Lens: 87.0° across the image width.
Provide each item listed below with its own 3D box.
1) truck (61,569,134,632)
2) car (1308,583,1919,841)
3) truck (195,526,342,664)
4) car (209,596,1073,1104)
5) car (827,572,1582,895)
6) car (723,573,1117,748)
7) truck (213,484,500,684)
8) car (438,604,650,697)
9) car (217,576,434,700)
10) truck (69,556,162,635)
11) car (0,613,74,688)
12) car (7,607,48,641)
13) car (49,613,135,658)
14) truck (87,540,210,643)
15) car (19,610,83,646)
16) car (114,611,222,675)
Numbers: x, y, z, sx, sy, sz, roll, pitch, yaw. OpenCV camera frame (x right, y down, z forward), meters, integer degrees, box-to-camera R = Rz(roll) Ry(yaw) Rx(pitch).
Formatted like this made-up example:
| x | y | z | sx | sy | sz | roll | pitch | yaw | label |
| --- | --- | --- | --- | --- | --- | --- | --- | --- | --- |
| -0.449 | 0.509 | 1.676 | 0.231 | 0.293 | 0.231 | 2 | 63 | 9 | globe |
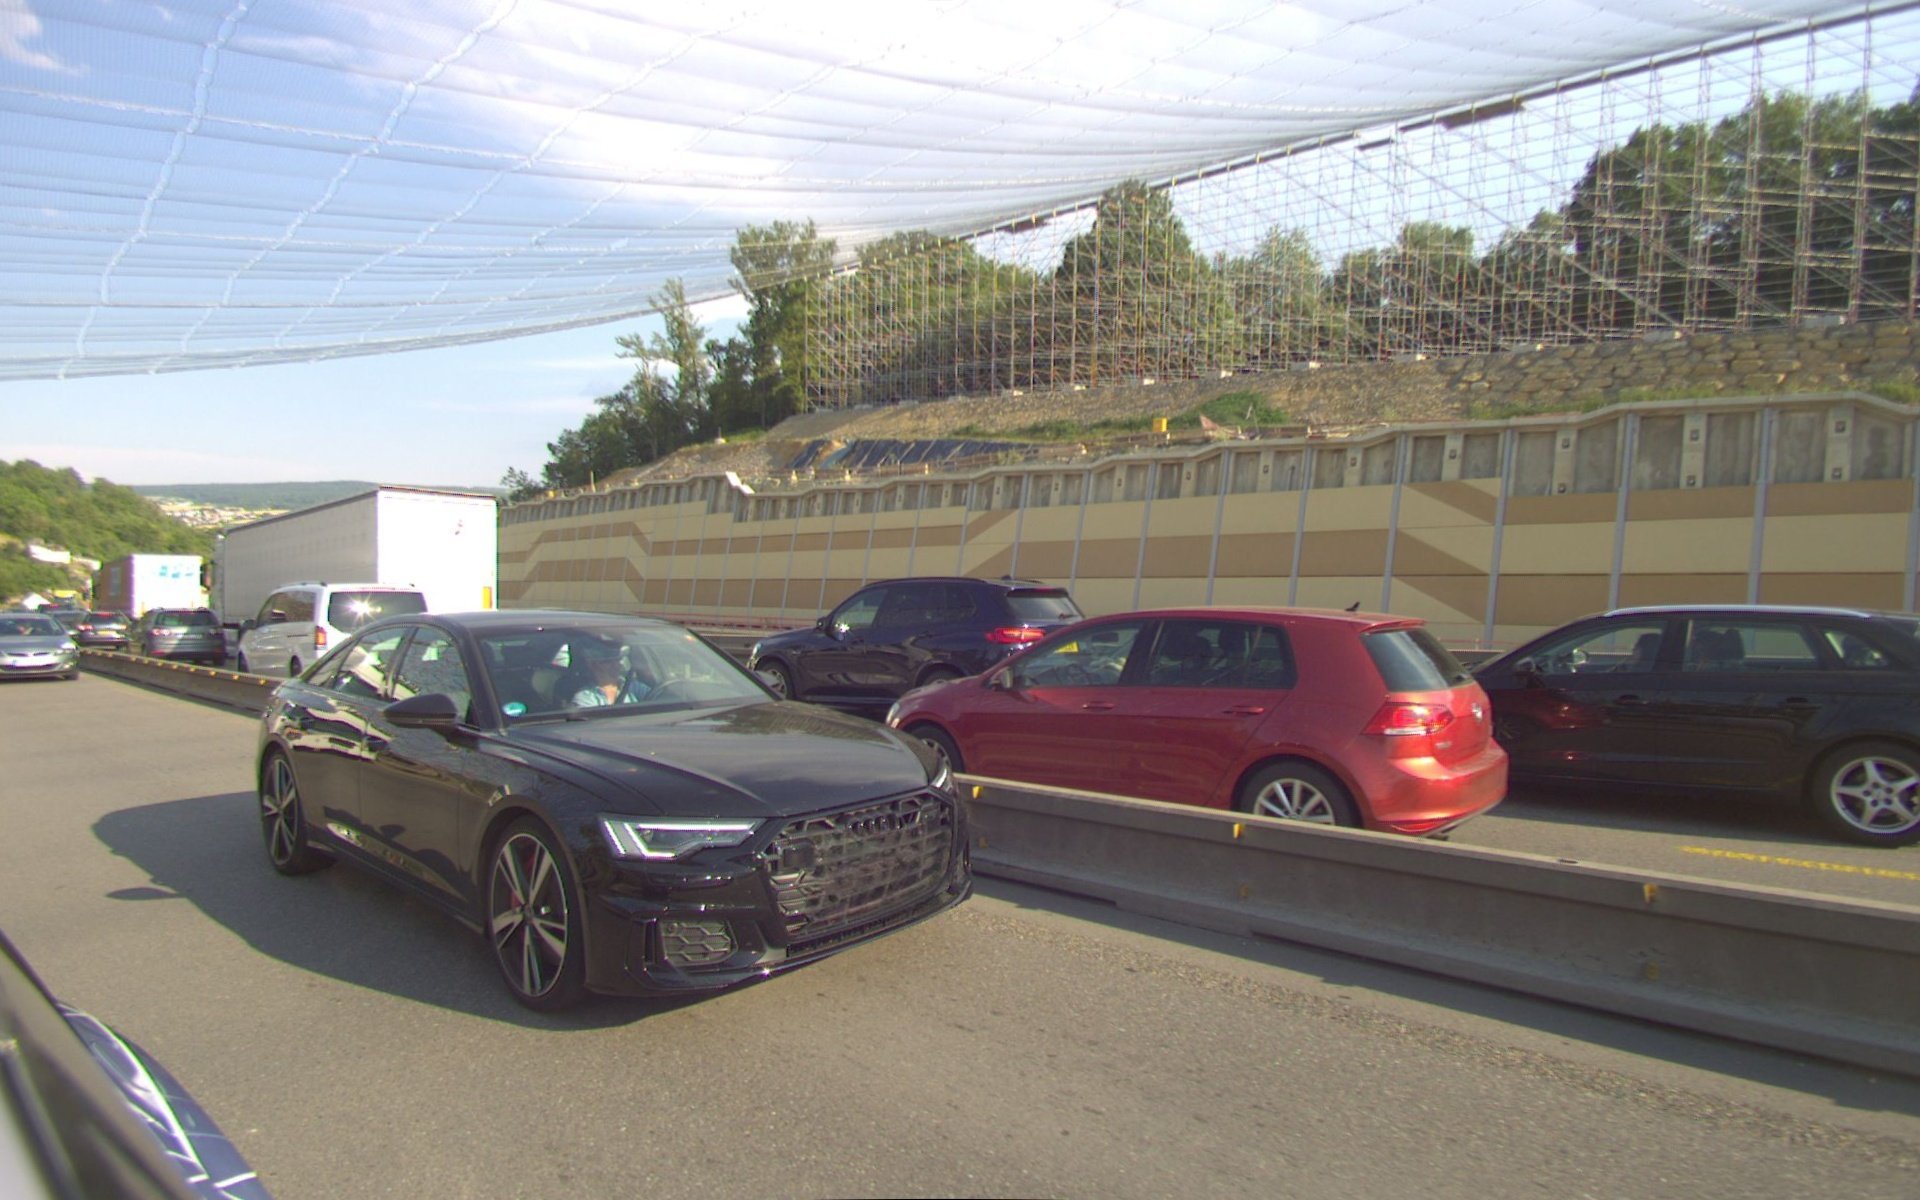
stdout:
| x | y | z | sx | sy | sz | roll | pitch | yaw | label |
| --- | --- | --- | --- | --- | --- | --- | --- | --- | --- |
| -69.543 | 0.118 | 81.398 | 17.414 | 4.593 | 2.953 | -1 | 0 | 45 | truck |
| 4.975 | 0.633 | 7.217 | 4.379 | 1.448 | 1.773 | -1 | 0 | 42 | car |
| -21.862 | -0.121 | 31.891 | 6.048 | 3.937 | 2.489 | -1 | 0 | 42 | truck |
| -2.022 | 0.744 | 5.207 | 4.957 | 1.409 | 1.915 | -1 | 0 | 41 | car |
| 1.311 | 0.604 | 6.654 | 4.515 | 1.430 | 1.789 | -1 | 0 | 41 | car |
| -0.671 | 0.616 | 12.377 | 4.934 | 1.740 | 1.805 | -1 | 0 | 41 | car |
| -16.857 | -0.295 | 27.381 | 14.166 | 4.259 | 2.692 | -1 | 0 | 42 | truck |
| -8.051 | 0.876 | 19.356 | 4.907 | 1.552 | 1.773 | -1 | 0 | 42 | car |
| -11.222 | 0.593 | 17.721 | 5.279 | 1.883 | 1.789 | -1 | 0 | 41 | car |
| -55.193 | -0.197 | 65.874 | 17.414 | 4.593 | 2.953 | -1 | 0 | 45 | truck |
| -20.643 | 1.047 | 21.995 | 4.354 | 1.484 | 1.736 | -1 | 0 | 44 | car |
| -53.172 | 1.340 | 57.698 | 1.702 | 1.841 | 3.296 | -1 | 0 | -43 | car |
| -32.871 | 1.291 | 38.274 | 4.644 | 1.546 | 1.914 | -1 | 0 | 42 | car |
| -42.136 | -0.325 | 52.178 | 17.414 | 4.593 | 2.953 | -1 | 0 | 45 | truck |
| -41.930 | 1.266 | 46.645 | 4.980 | 1.530 | 1.913 | -1 | 0 | 45 | car |
| -21.485 | 1.102 | 27.396 | 4.216 | 1.563 | 1.565 | -1 | 0 | 41 | car |
